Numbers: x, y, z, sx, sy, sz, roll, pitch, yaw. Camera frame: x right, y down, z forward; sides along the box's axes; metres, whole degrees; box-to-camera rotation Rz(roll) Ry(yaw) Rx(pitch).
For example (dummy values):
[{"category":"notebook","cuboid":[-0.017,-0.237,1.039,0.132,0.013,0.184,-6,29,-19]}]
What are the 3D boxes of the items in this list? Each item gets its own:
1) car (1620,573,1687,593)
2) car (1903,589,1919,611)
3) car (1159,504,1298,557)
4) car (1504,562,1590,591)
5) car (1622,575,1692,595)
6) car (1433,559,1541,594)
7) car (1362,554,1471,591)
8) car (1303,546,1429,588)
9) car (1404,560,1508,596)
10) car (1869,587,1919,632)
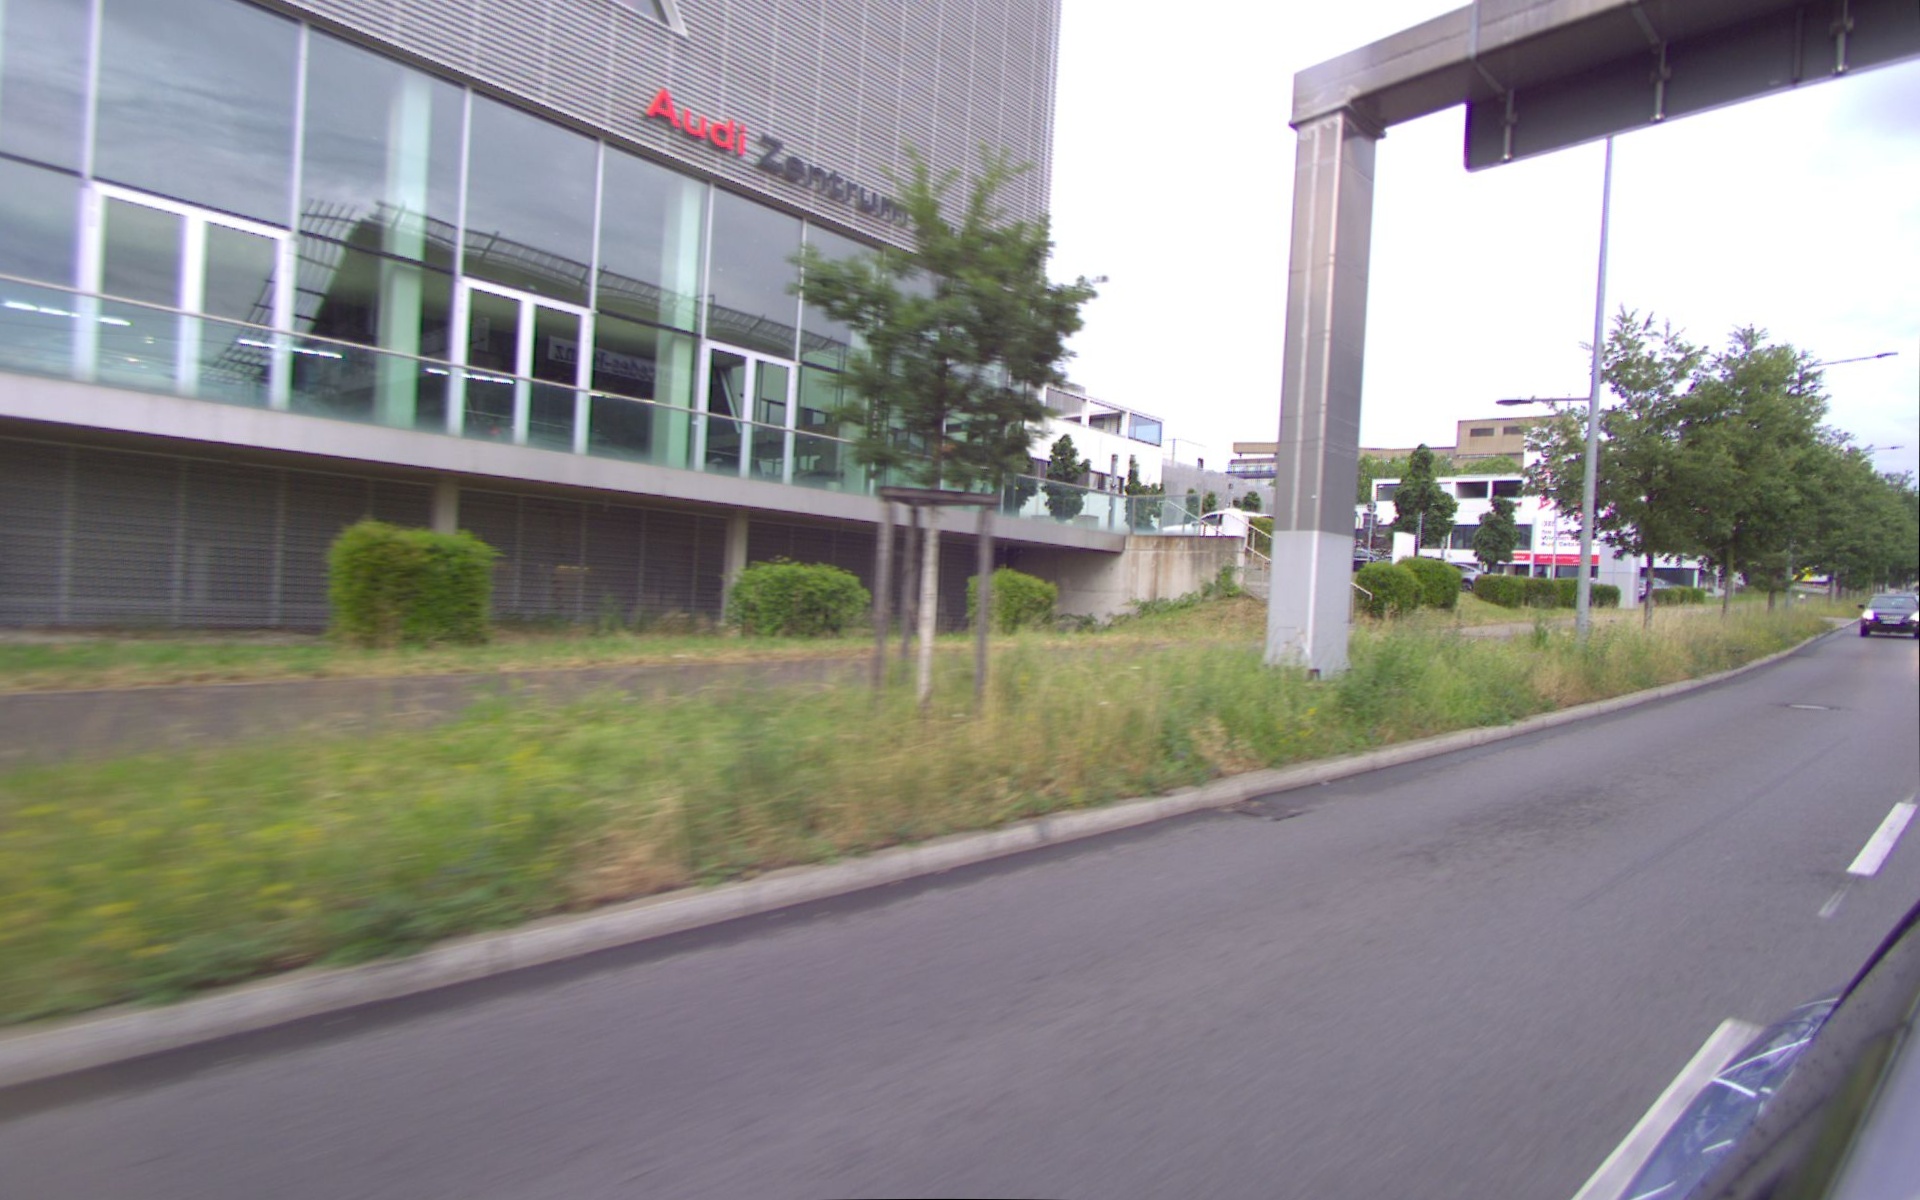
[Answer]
[{"category":"car","cuboid":[58.720,-1.456,85.790,1.860,1.444,4.401,-2,4,-45]},{"category":"car","cuboid":[81.924,0.003,86.364,4.044,1.833,1.858,1,0,-43]},{"category":"car","cuboid":[9.002,-2.294,34.097,4.260,1.594,1.666,2,1,44]},{"category":"car","cuboid":[33.797,-1.379,58.337,4.095,1.613,1.923,2,3,37]},{"category":"car","cuboid":[57.190,-1.235,83.065,4.400,1.364,1.901,5,5,44]},{"category":"car","cuboid":[26.364,-1.203,50.702,4.521,1.613,1.666,3,3,44]},{"category":"car","cuboid":[20.261,-1.227,44.978,4.106,1.594,1.666,2,1,44]},{"category":"car","cuboid":[16.345,-1.339,40.882,4.421,1.594,1.666,2,1,44]},{"category":"car","cuboid":[23.524,-1.034,48.073,4.106,1.629,1.666,2,1,44]},{"category":"car","cuboid":[36.390,0.342,38.564,4.037,1.629,1.829,0,1,-37]}]
